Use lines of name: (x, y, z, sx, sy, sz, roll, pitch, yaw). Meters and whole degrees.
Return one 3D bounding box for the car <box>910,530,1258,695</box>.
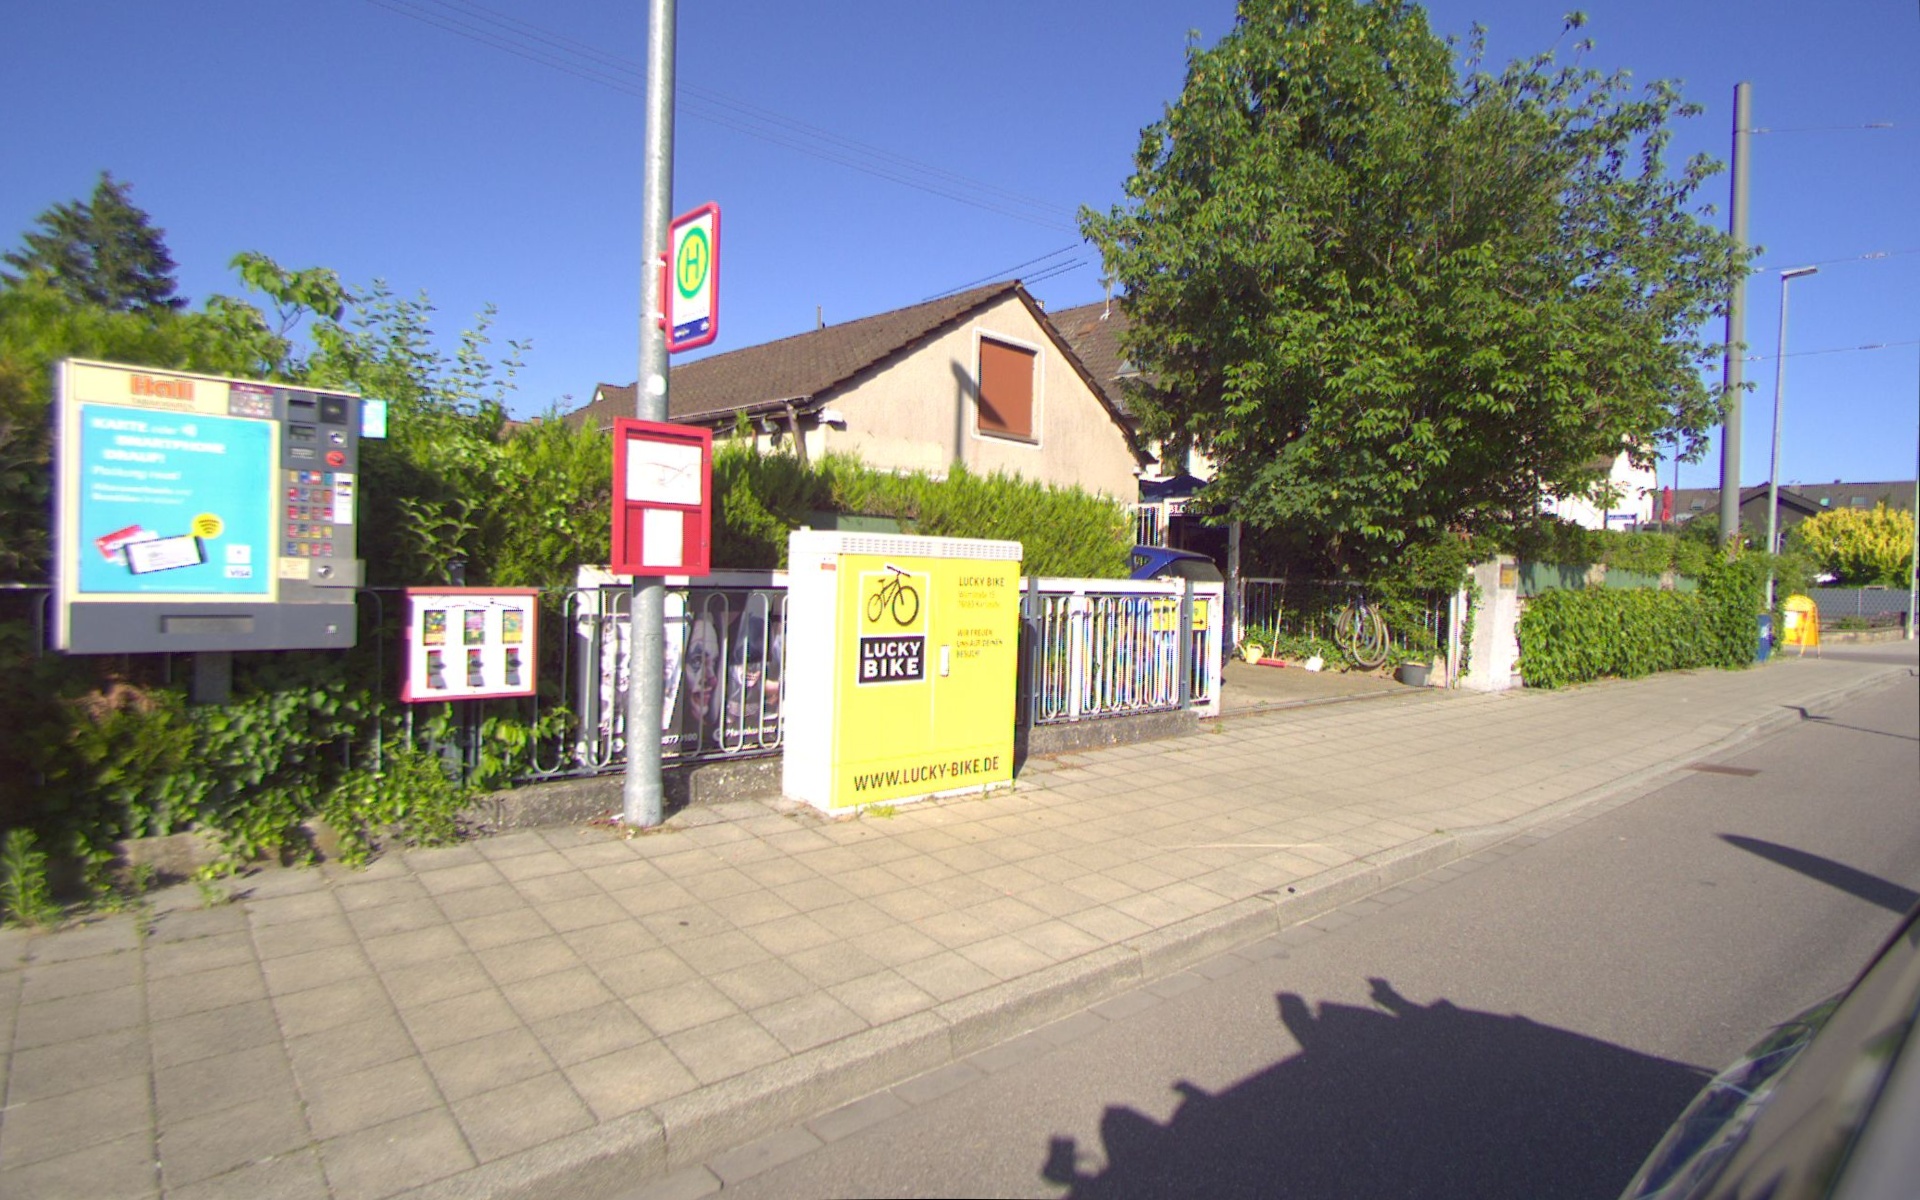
car: (1.376, 0.034, 12.057, 3.757, 1.588, 1.727, 5, 3, 40)
